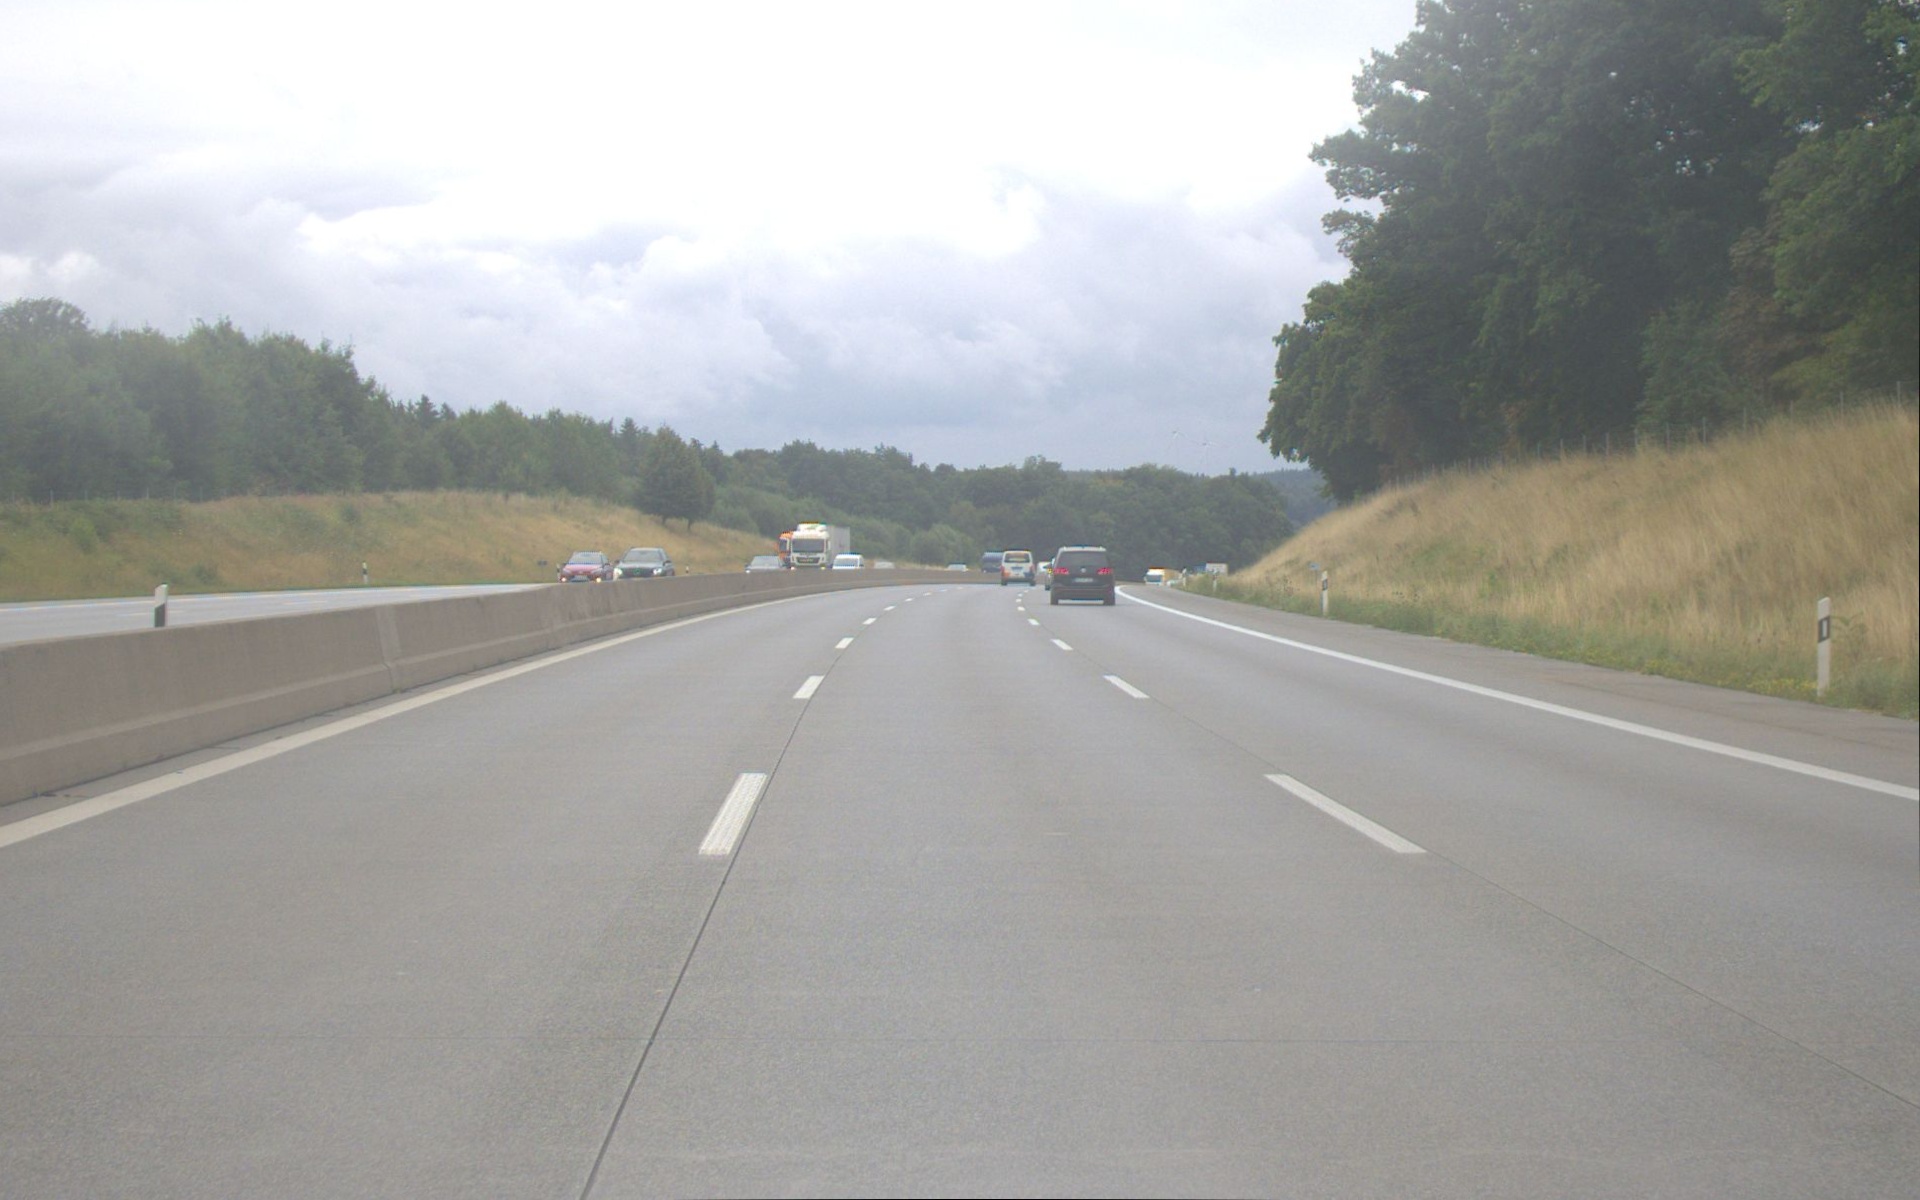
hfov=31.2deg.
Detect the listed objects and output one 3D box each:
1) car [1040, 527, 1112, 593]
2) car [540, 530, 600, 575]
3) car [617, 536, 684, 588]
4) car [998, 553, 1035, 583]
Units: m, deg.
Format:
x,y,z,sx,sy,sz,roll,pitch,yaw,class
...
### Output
x,y,z,sx,sy,sz,roll,pitch,yaw,class
3.363,-1.183,100.024,1.785,1.741,3.916,-3,2,-1,car
-15.759,-1.928,139.068,1.950,1.612,4.001,-3,2,0,car
-10.917,-1.348,121.496,1.950,1.612,4.001,-3,2,0,car
3.183,-1.805,193.781,1.841,1.495,4.001,-3,2,-2,car
